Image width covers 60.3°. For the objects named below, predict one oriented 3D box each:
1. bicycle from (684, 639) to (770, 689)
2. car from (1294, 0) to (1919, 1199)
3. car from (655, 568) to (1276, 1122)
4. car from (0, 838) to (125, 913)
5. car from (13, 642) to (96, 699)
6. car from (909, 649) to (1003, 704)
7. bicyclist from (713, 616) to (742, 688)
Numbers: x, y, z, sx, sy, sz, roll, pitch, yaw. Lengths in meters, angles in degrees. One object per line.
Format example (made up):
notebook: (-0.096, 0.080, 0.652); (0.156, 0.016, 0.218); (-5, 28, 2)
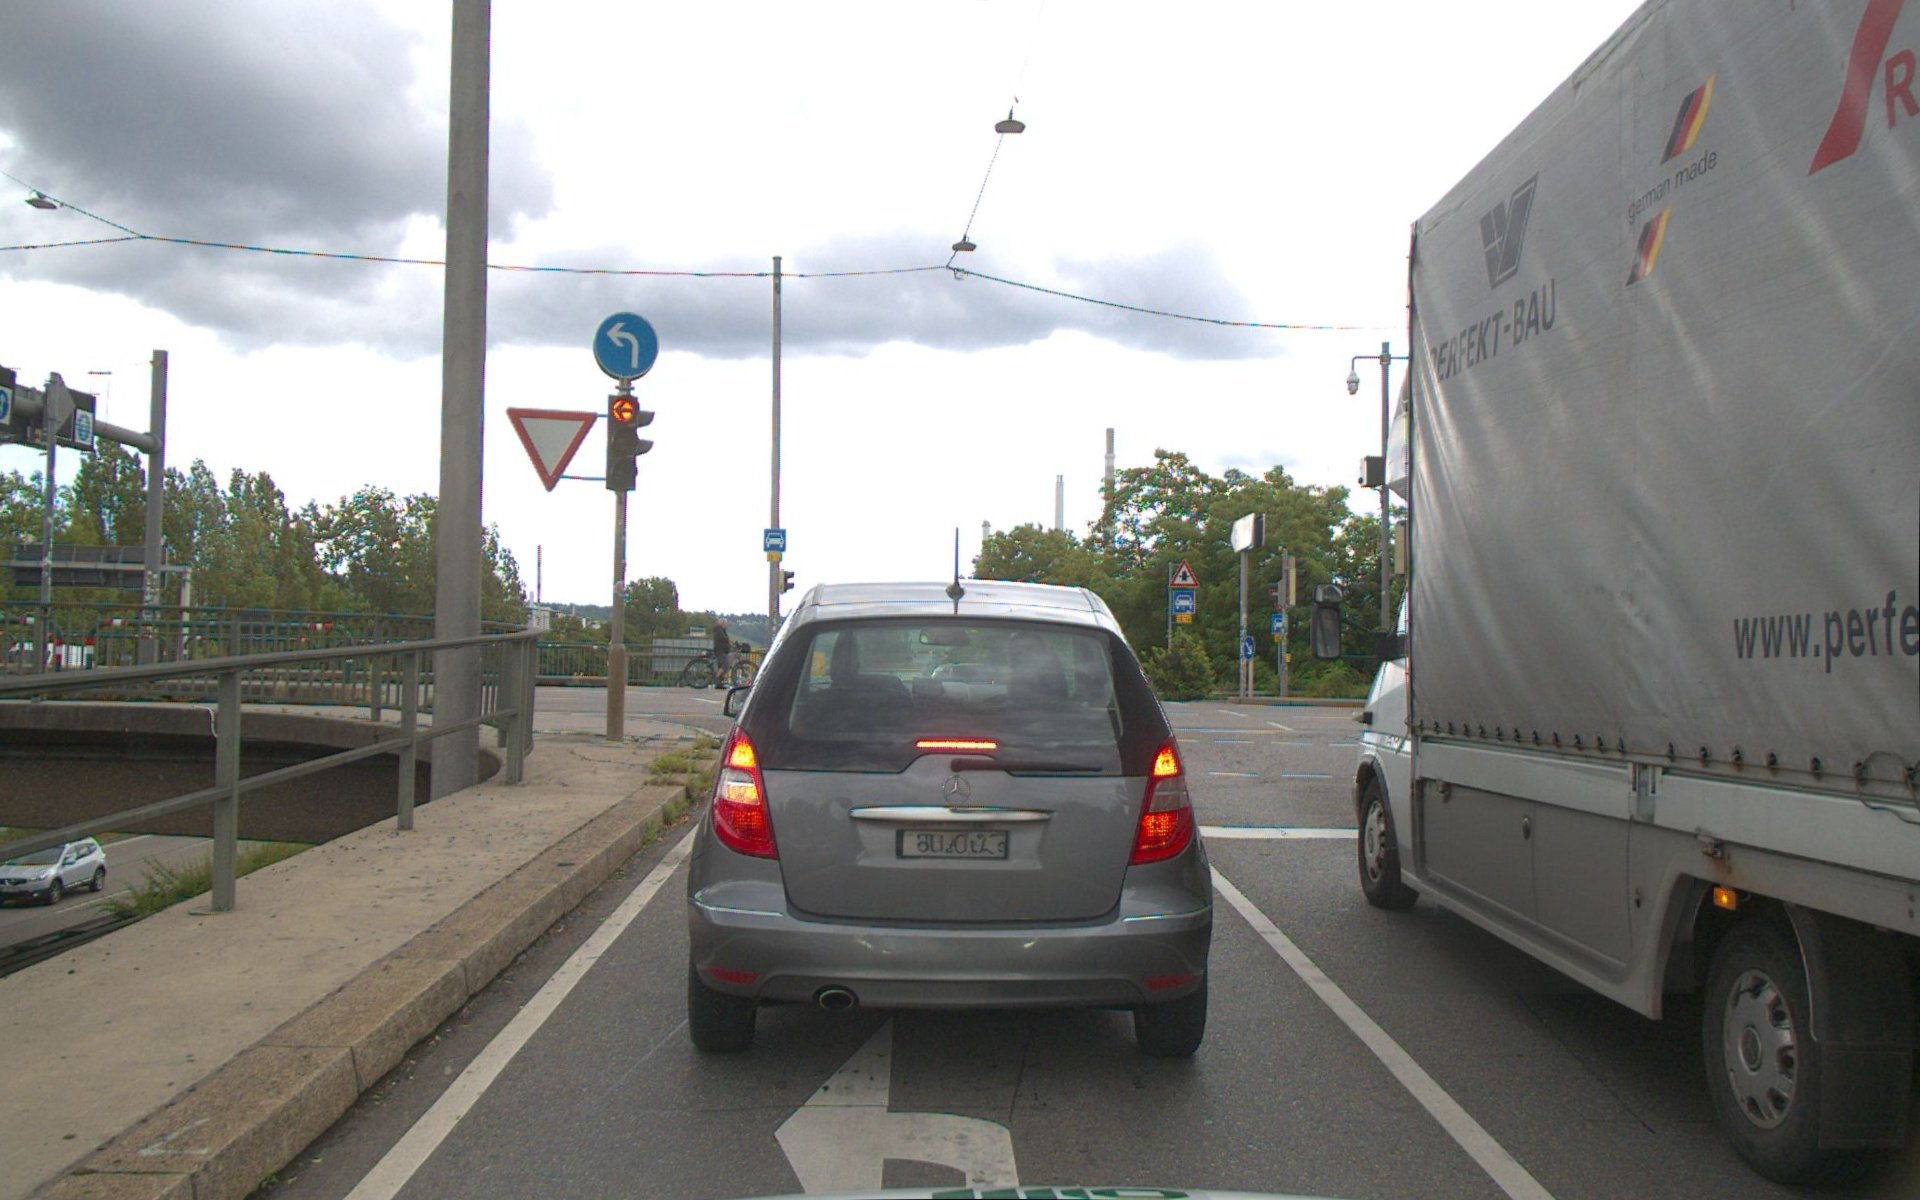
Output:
bicycle: (-5.628, 1.536, 39.947); (1.996, 1.144, 0.927); (0, 0, -12)
car: (3.232, -0.217, 5.828); (2.604, 3.388, 7.089); (1, 0, -1)
car: (0.060, 0.691, 6.866); (1.819, 1.616, 4.001); (0, 1, 1)
car: (-26.615, 8.076, 48.777); (1.848, 1.644, 4.305); (0, -2, -1)
car: (-38.967, 3.007, 71.246); (1.819, 2.254, 3.659); (0, 0, -5)
car: (-0.210, 2.903, 63.889); (1.969, 1.802, 5.208); (0, 1, -21)
bicyclist: (-5.616, 1.245, 39.960); (0.641, 1.703, 0.867); (0, 0, -11)
